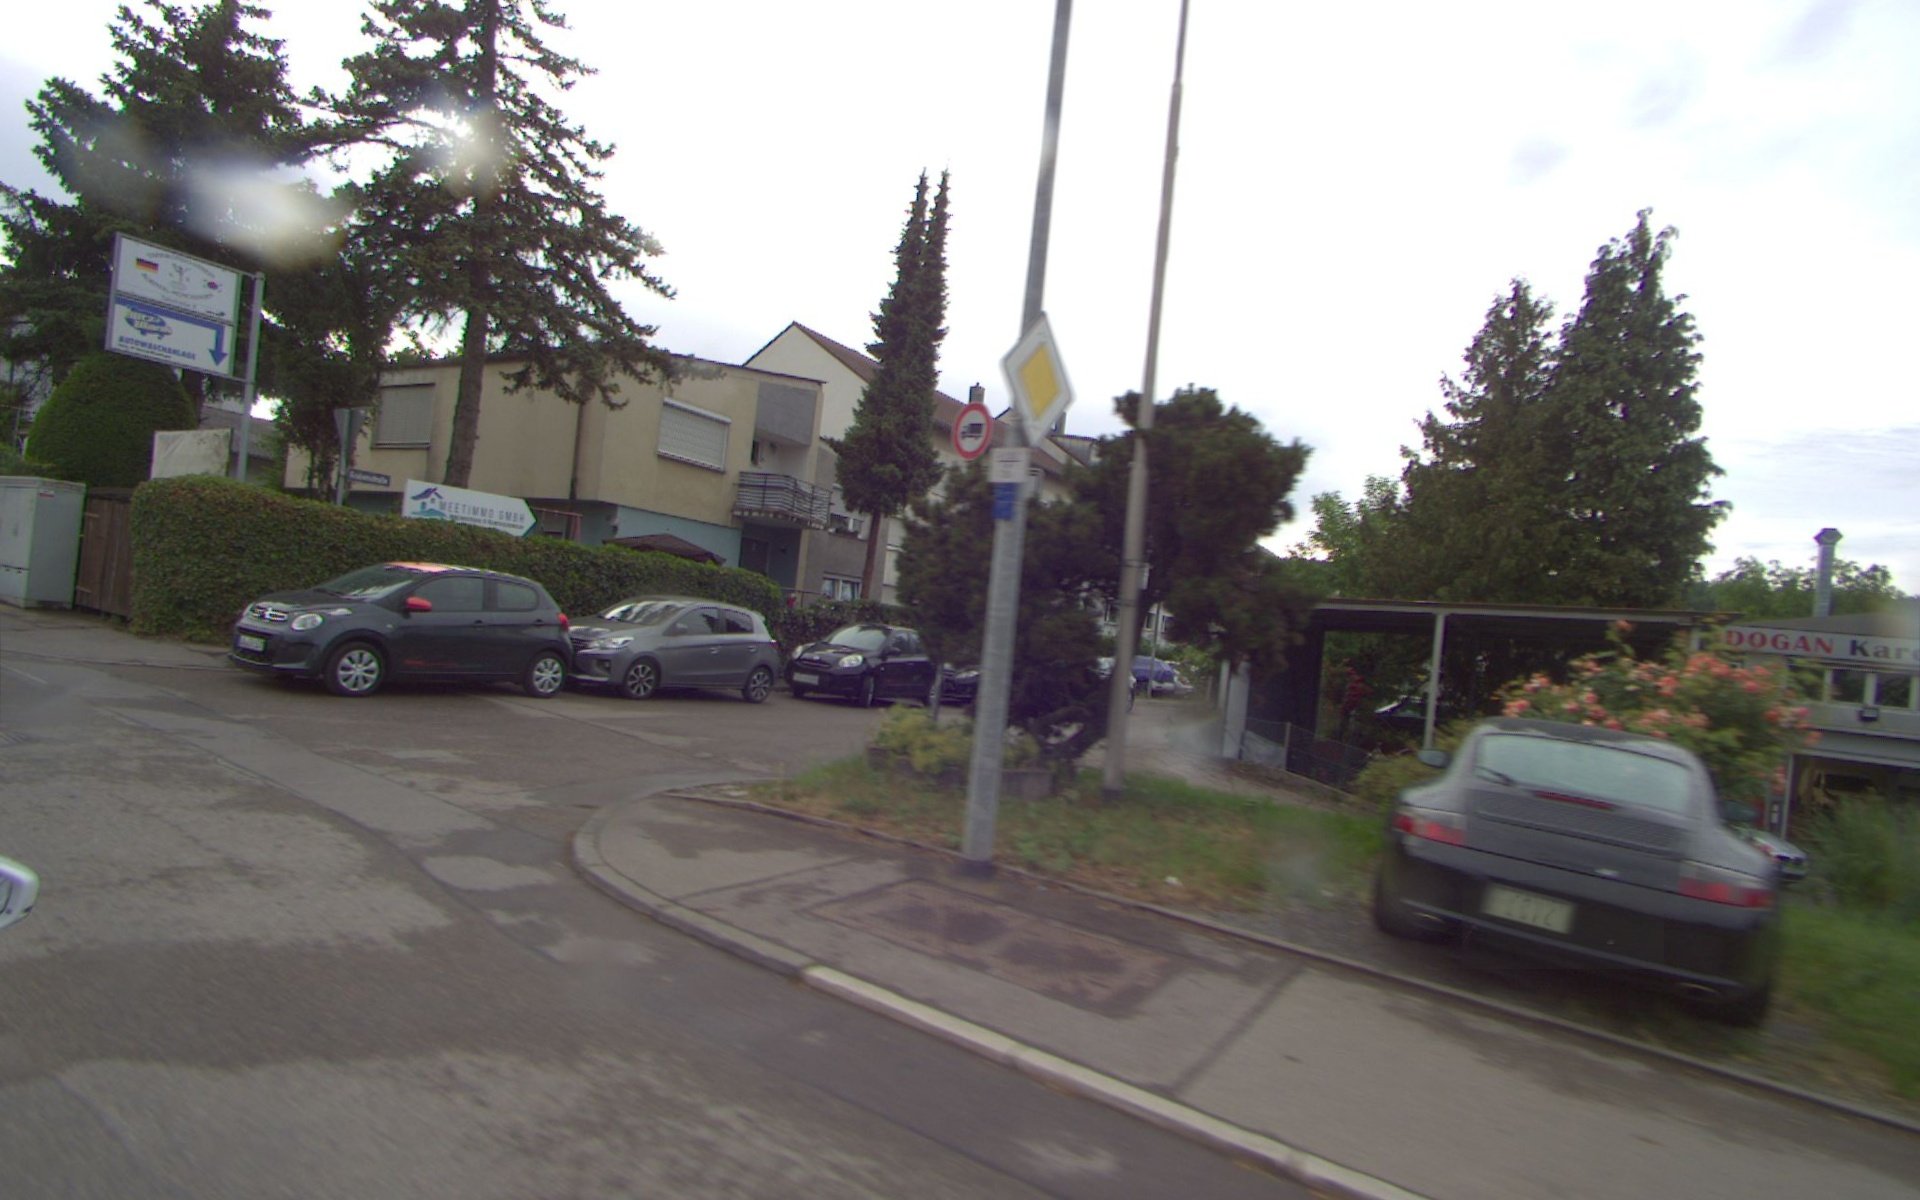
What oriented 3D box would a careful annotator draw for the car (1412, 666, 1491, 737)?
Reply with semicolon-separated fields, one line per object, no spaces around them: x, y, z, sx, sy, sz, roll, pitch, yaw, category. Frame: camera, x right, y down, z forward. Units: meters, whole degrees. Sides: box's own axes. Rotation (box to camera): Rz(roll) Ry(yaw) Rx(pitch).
24.736;5.148;50.472;2.597;3.039;6.049;6;-3;33;car

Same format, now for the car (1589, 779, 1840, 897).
15.970;5.011;21.585;1.826;1.522;3.955;8;-2;-13;car

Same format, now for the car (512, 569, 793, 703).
-4.455;0.616;15.076;1.828;1.556;3.623;6;-3;30;car

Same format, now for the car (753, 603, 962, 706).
-1.834;1.106;19.331;1.911;1.525;3.954;6;-3;30;car

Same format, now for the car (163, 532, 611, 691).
-6.339;0.227;11.621;1.918;1.280;3.997;6;-3;30;car

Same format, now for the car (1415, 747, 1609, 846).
11.902;4.213;21.948;3.417;1.391;1.731;6;-2;24;car

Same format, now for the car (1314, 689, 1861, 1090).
3.679;1.378;6.063;1.920;1.280;3.994;6;-3;34;car

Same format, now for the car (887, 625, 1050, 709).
0.290;1.586;23.101;1.966;1.492;3.844;6;-3;30;car
